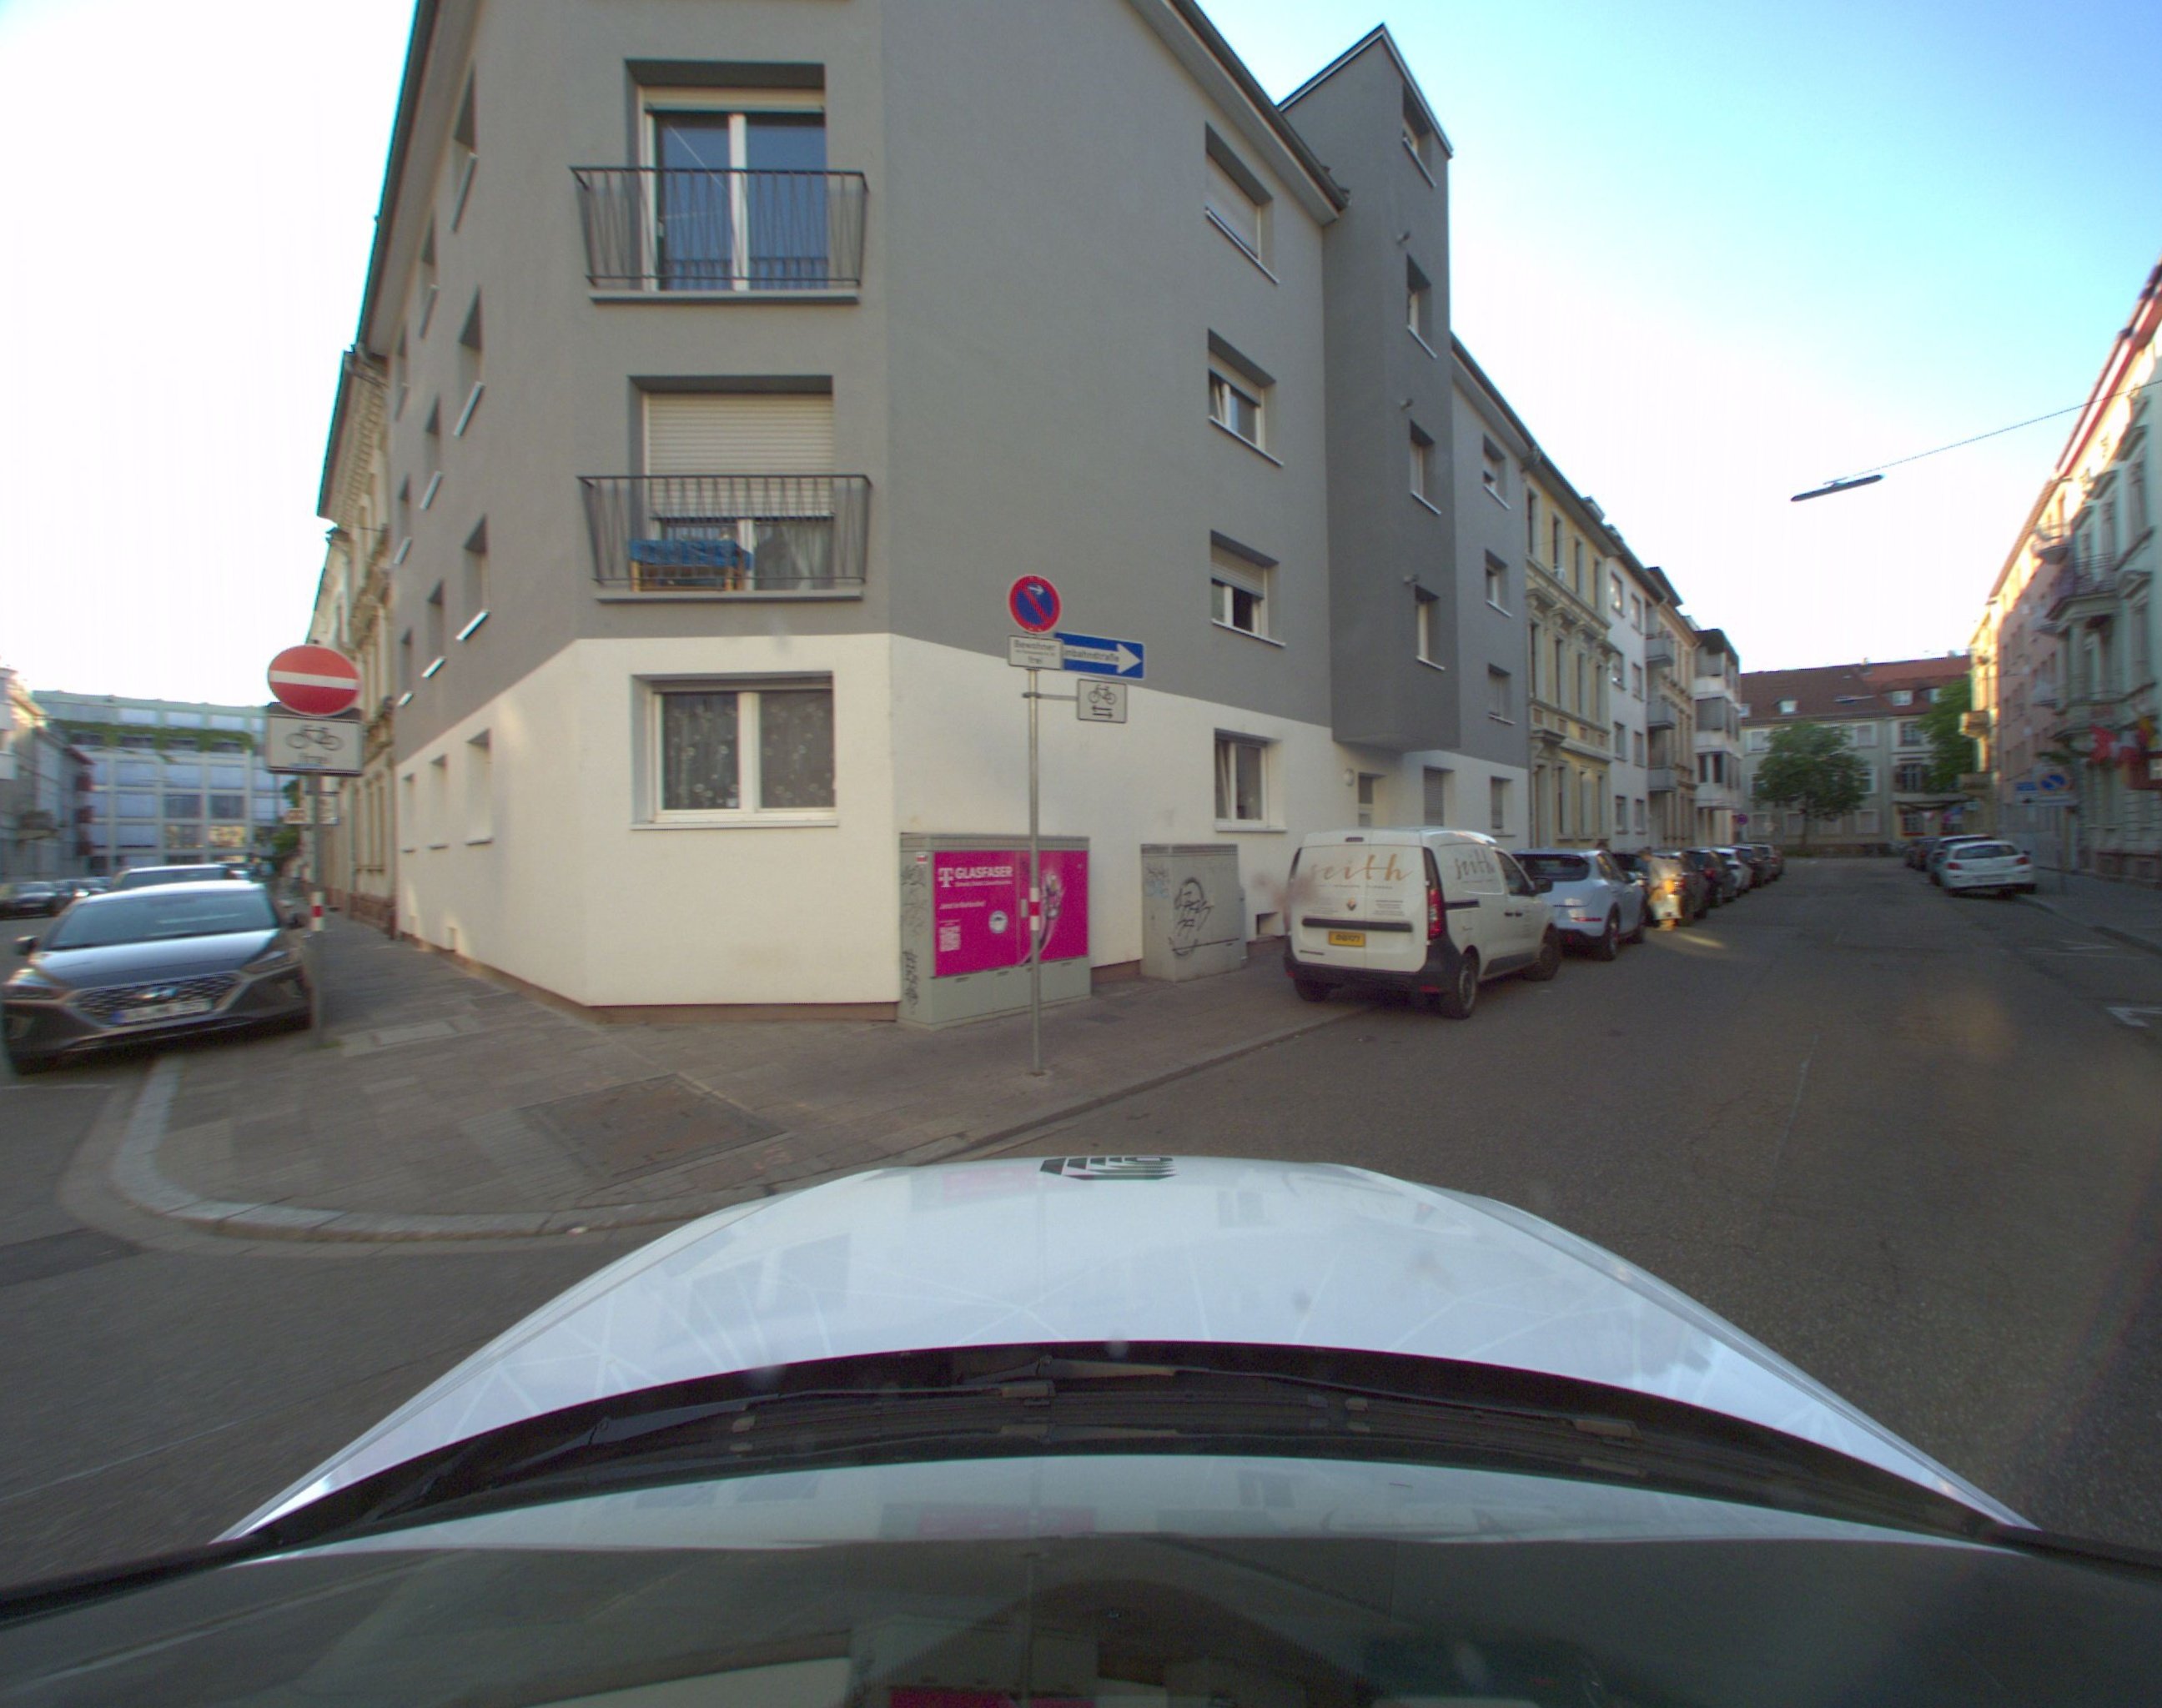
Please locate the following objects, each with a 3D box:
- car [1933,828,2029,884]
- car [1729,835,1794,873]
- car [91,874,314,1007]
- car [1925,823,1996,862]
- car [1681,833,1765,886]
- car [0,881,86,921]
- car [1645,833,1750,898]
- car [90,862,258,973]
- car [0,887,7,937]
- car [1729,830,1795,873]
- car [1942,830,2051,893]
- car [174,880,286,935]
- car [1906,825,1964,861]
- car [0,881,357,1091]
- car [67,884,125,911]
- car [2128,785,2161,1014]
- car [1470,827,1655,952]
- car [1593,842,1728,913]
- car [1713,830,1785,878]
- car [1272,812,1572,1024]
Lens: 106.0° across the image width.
[{"bbox_3d":[30.363,0.039,27.584,4.083,1.732,1.975,-2,0,-44],"label":"car"},{"bbox_3d":[32.465,-0.003,38.817,4.000,1.662,1.975,-2,0,-44],"label":"car"},{"bbox_3d":[-12.997,1.131,12.190,3.840,1.557,1.982,-1,1,44],"label":"car"},{"bbox_3d":[41.537,-0.536,38.556,1.975,1.708,4.024,-2,0,44],"label":"car"},{"bbox_3d":[19.920,0.130,25.215,1.615,1.472,3.776,-1,1,45],"label":"car"},{"bbox_3d":[-42.092,1.868,32.865,3.949,1.418,2.193,-1,1,42],"label":"car"},{"bbox_3d":[16.395,0.261,21.591,1.712,1.509,3.853,-1,1,45],"label":"car"},{"bbox_3d":[-17.181,1.092,15.570,3.950,1.784,1.911,-1,1,44],"label":"car"},{"bbox_3d":[-29.338,1.587,20.642,4.373,1.355,2.012,-1,1,44],"label":"car"},{"bbox_3d":[28.433,-0.147,33.957,1.974,1.666,4.437,-1,0,42],"label":"car"},{"bbox_3d":[25.737,0.182,23.014,3.781,1.459,1.646,-2,-5,-45],"label":"car"},{"bbox_3d":[-23.791,1.438,22.891,2.012,1.287,3.950,-2,0,-45],"label":"car"},{"bbox_3d":[44.863,-0.604,42.837,4.023,1.761,1.975,-2,0,-44],"label":"car"},{"bbox_3d":[-8.696,1.044,8.015,3.741,1.372,1.956,-1,2,43],"label":"car"},{"bbox_3d":[-54.067,2.346,44.763,3.949,1.302,1.723,-1,1,43],"label":"car"},{"bbox_3d":[7.905,0.370,4.632,1.800,1.723,4.488,-1,1,45],"label":"car"},{"bbox_3d":[7.710,0.432,12.820,1.746,1.563,4.394,-2,1,40],"label":"car"},{"bbox_3d":[12.386,0.439,17.300,1.668,1.332,4.156,-1,-1,45],"label":"car"},{"bbox_3d":[24.236,-0.037,29.500,1.600,1.570,4.329,-2,1,45],"label":"car"},{"bbox_3d":[3.957,0.496,9.037,1.616,1.813,4.210,-2,1,44],"label":"car"}]
